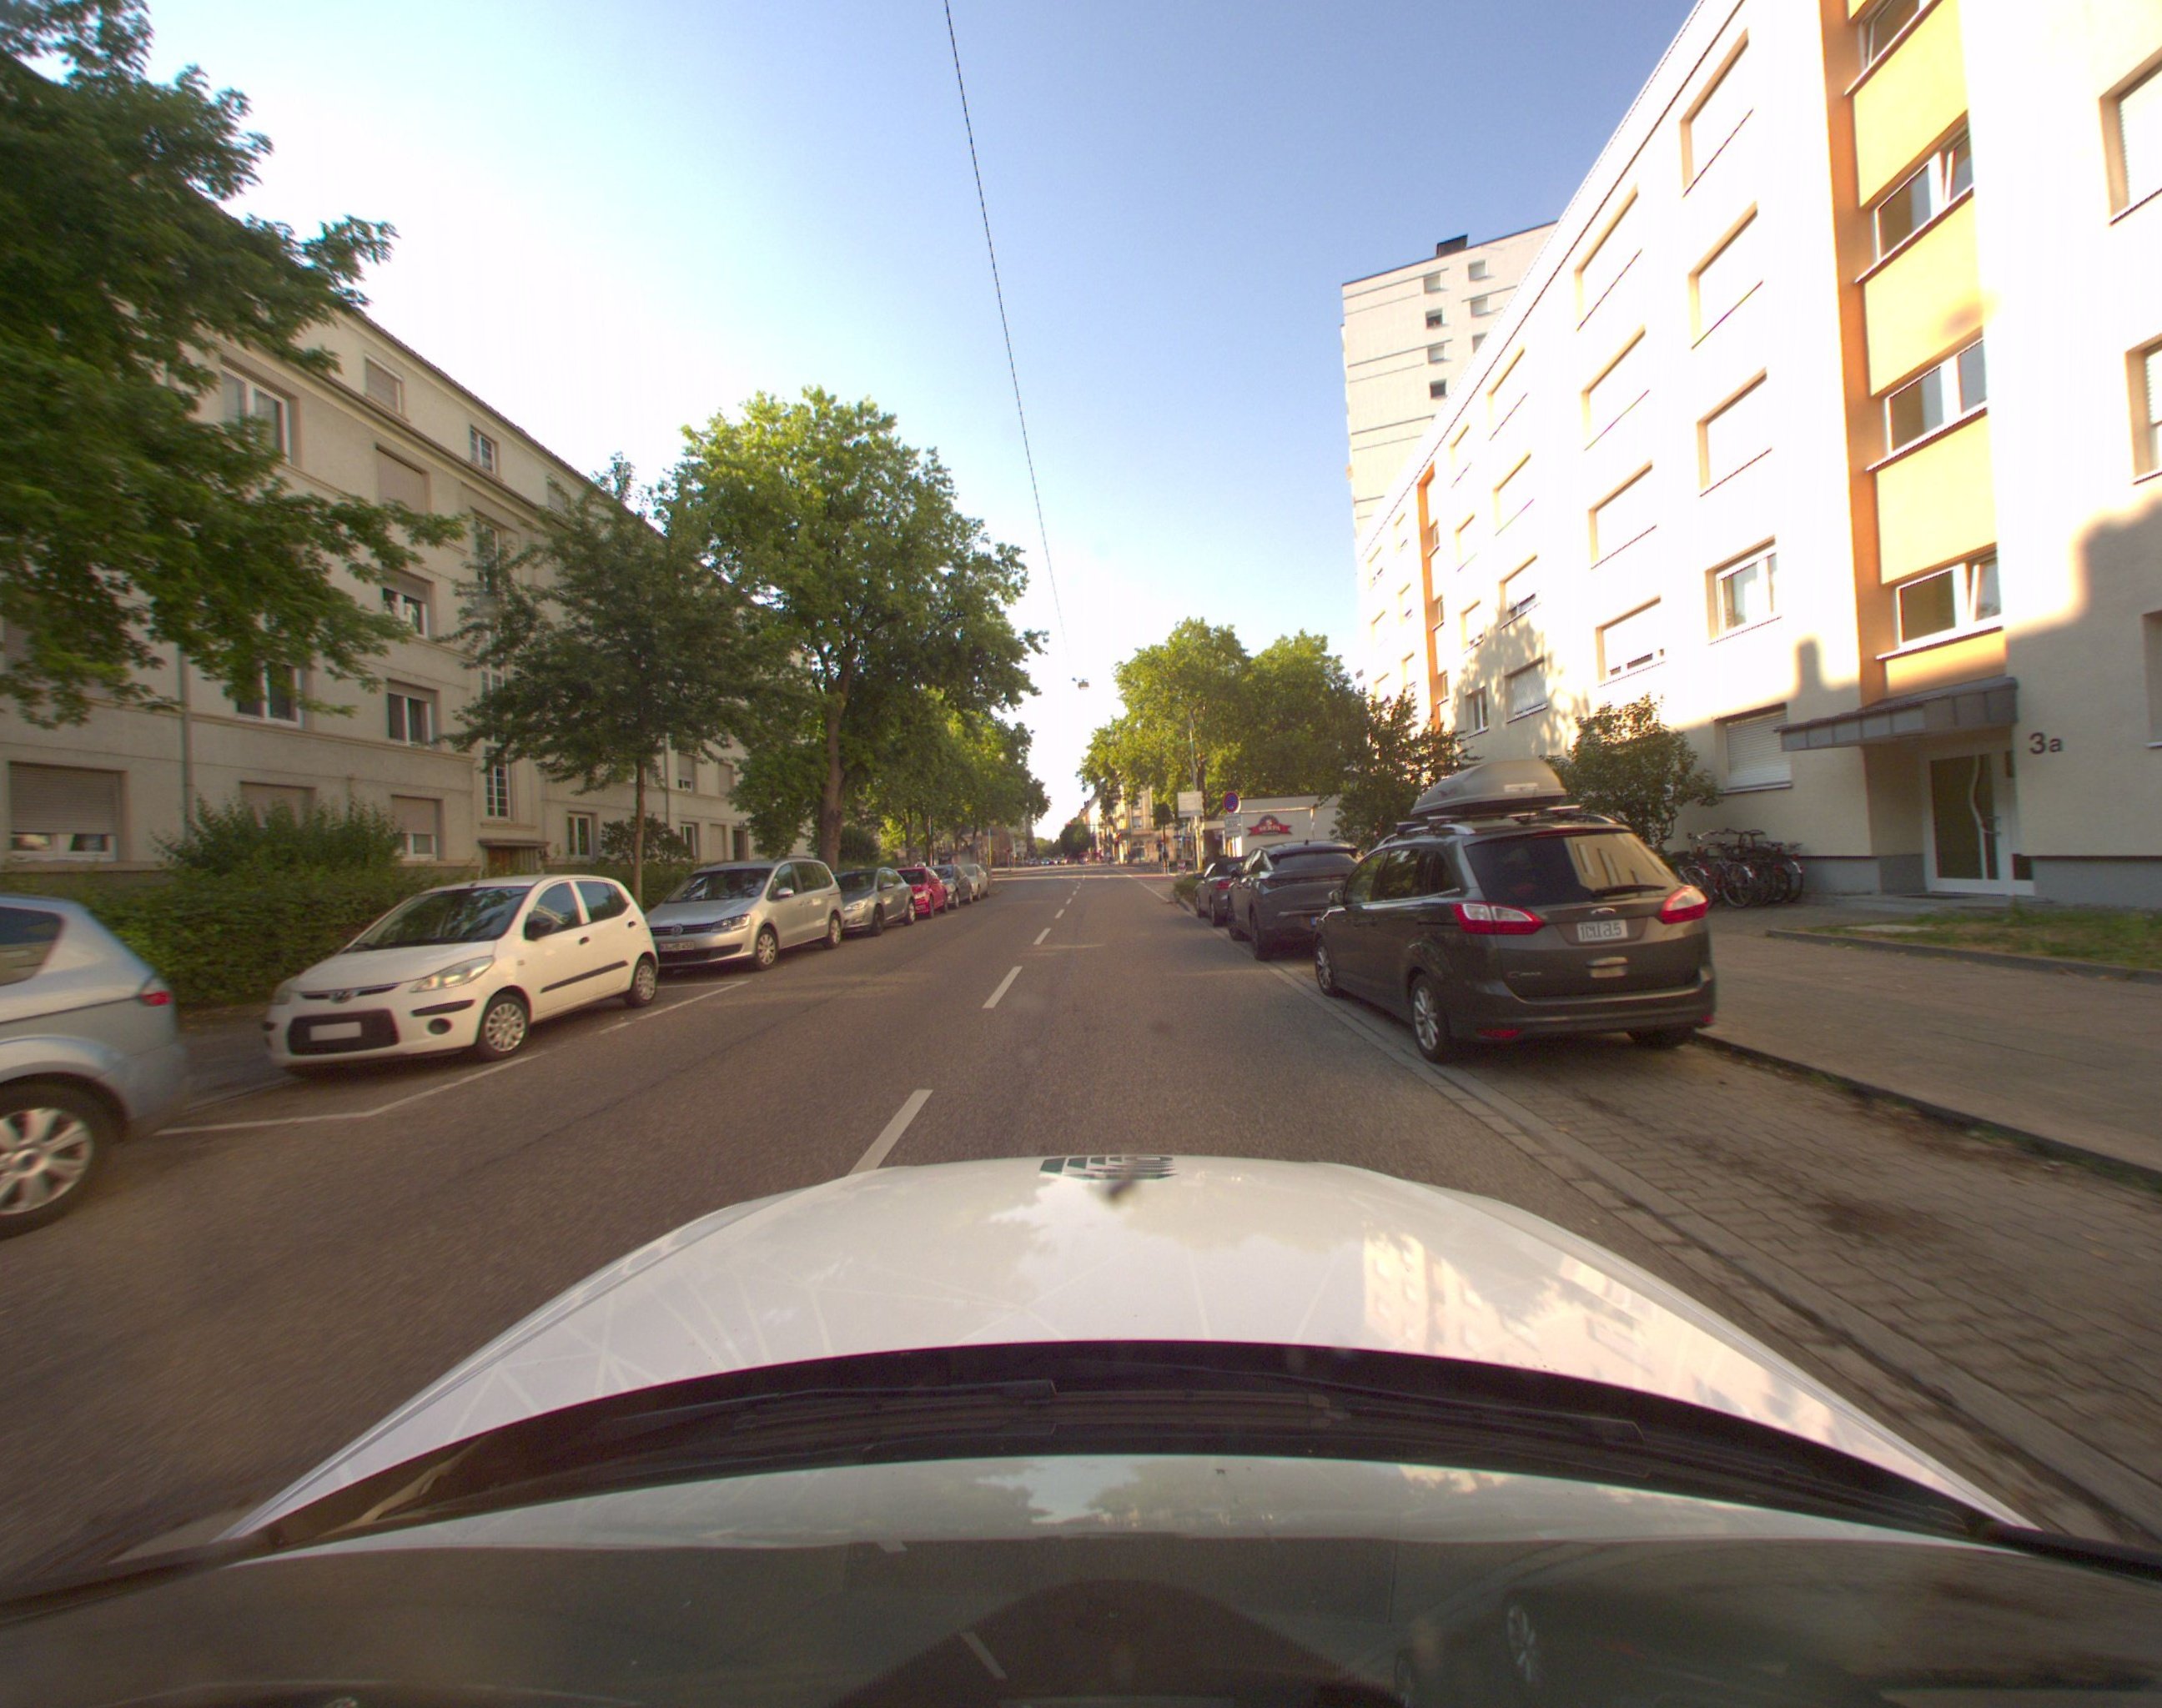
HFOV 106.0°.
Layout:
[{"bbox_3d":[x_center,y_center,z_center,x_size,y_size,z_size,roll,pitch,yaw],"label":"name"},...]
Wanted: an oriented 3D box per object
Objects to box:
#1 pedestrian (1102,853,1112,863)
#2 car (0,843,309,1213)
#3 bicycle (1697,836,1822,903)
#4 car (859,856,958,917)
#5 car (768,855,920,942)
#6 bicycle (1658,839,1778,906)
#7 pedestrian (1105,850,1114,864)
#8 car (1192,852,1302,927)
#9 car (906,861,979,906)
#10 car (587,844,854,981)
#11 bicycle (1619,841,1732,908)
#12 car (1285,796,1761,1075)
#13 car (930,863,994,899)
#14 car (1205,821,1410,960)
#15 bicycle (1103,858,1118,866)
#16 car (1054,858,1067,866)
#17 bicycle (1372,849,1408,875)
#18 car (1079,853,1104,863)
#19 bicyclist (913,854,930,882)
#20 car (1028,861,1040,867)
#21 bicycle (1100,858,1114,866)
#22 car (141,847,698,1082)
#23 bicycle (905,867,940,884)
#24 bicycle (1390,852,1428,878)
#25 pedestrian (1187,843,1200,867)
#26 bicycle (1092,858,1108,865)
[{"bbox_3d":[3.420,0.519,107.055,1.038,1.278,0.797,-2,-2,32],"label":"pedestrian"},{"bbox_3d":[-5.565,0.838,2.213,1.864,1.558,5.058,-7,0,1],"label":"car"},{"bbox_3d":[11.145,0.254,13.457,0.609,1.021,1.834,-1,-1,4],"label":"bicycle"},{"bbox_3d":[-4.820,0.900,23.332,1.864,1.558,4.001,-1,-1,1],"label":"car"},{"bbox_3d":[-5.076,0.919,18.139,1.864,1.558,4.498,-4,-1,1],"label":"car"},{"bbox_3d":[10.465,0.307,13.465,0.609,1.021,1.834,-1,-1,4],"label":"bicycle"},{"bbox_3d":[3.655,0.413,105.011,0.982,1.708,0.632,-2,-2,27],"label":"pedestrian"},{"bbox_3d":[3.585,0.755,18.294,1.734,1.473,4.001,-1,-1,1],"label":"car"},{"bbox_3d":[-4.742,0.993,28.367,1.697,1.440,4.130,-1,-1,1],"label":"car"},{"bbox_3d":[-5.440,0.823,13.186,1.909,1.677,4.975,-4,-1,1],"label":"car"},{"bbox_3d":[9.808,0.334,13.517,0.609,1.021,1.834,-1,-1,4],"label":"bicycle"},{"bbox_3d":[3.287,0.516,7.227,1.891,1.651,4.344,-2,0,1],"label":"car"},{"bbox_3d":[-4.750,1.071,33.140,1.763,1.352,4.711,-1,-1,2],"label":"car"},{"bbox_3d":[3.254,0.518,12.761,1.920,1.659,4.678,-4,-1,1],"label":"car"},{"bbox_3d":[3.808,1.059,104.907,1.767,0.982,0.660,-2,-2,27],"label":"bicycle"},{"bbox_3d":[-4.028,1.626,160.191,1.575,1.463,3.196,-1,-1,15],"label":"car"},{"bbox_3d":[12.119,0.291,32.013,0.634,0.925,2.231,-1,1,2],"label":"bicycle"},{"bbox_3d":[2.170,0.798,171.236,5.027,2.014,2.142,0,-2,-38],"label":"car"},{"bbox_3d":[-11.690,1.047,59.684,0.964,2.014,0.802,-2,-2,36],"label":"bicyclist"},{"bbox_3d":[-10.714,2.292,185.988,1.582,1.144,3.398,-1,-1,16],"label":"car"},{"bbox_3d":[3.413,1.045,107.091,1.764,0.895,0.755,-3,0,31],"label":"bicycle"},{"bbox_3d":[-5.635,0.823,7.789,1.864,1.558,4.102,-3,-1,1],"label":"car"},{"bbox_3d":[-11.613,1.566,59.770,0.998,1.264,2.499,-2,-2,36],"label":"bicycle"},{"bbox_3d":[12.820,0.407,31.917,0.634,0.925,2.231,-1,1,2],"label":"bicycle"},{"bbox_3d":[9.812,0.068,71.109,0.824,2.013,1.153,-6,-2,1],"label":"pedestrian"},{"bbox_3d":[3.546,1.379,150.757,2.799,1.204,0.509,-1,-2,-6],"label":"bicycle"}]
